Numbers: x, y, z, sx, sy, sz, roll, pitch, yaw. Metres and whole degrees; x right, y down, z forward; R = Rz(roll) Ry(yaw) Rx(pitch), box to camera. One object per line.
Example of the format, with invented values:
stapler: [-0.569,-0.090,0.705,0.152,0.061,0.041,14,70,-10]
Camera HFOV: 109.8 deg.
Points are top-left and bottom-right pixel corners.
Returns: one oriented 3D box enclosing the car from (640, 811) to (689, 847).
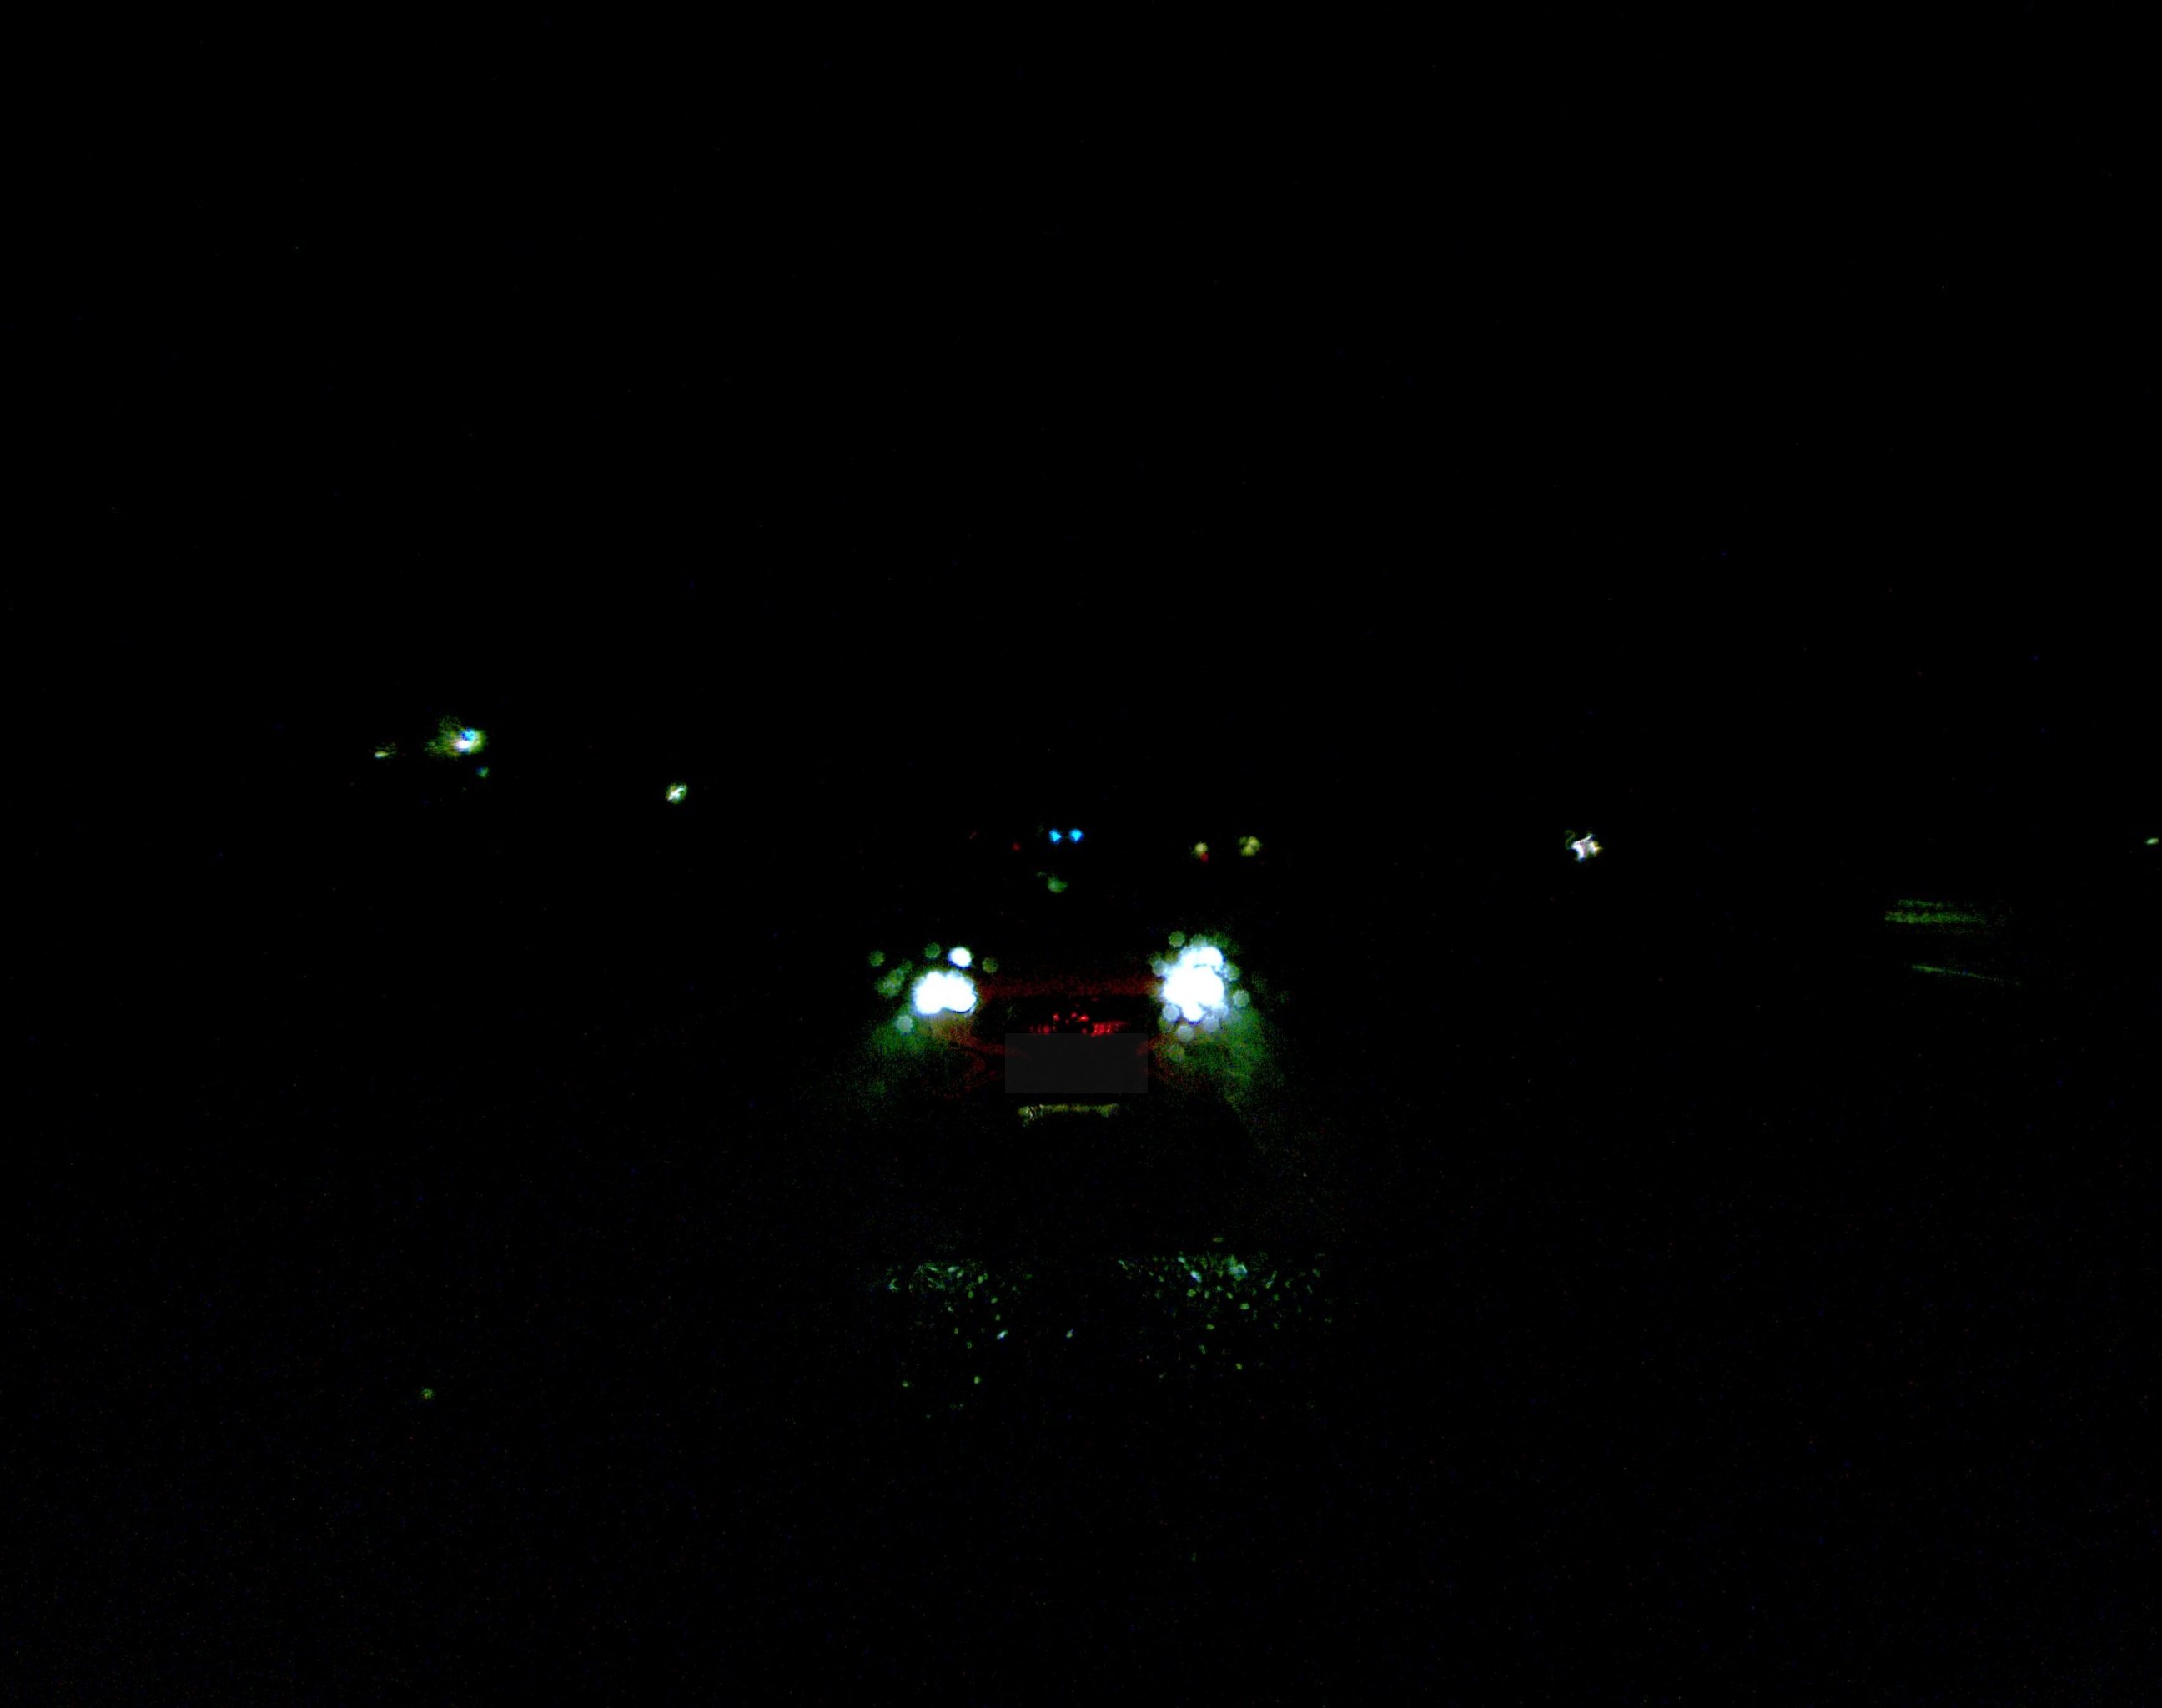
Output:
car: [-25.061,-1.489,45.851,1.735,2.002,3.696,-3,1,-16]

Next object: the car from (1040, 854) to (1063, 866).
car: [-5.068,1.035,129.273,2.003,2.002,3.990,-3,1,-32]

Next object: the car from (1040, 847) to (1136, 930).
car: [0.026,0.725,18.960,1.840,1.725,4.938,-2,1,-5]

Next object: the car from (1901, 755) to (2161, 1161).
car: [6.345,0.502,2.577,2.090,2.002,4.713,-1,1,1]

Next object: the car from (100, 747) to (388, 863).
car: [-16.405,-0.881,15.275,2.001,2.002,3.994,-3,1,-16]

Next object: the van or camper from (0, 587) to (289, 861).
van or camper: [-12.749,-1.342,8.808,2.417,2.777,5.763,-3,1,-18]

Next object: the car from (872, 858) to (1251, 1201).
car: [-0.066,0.888,5.952,1.826,1.573,4.354,-2,1,1]

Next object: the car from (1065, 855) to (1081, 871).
car: [-1.015,1.138,100.037,1.998,2.002,4.000,-2,1,1]

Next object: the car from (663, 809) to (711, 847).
car: [-26.366,-1.696,51.036,1.937,2.406,4.249,-3,1,-16]

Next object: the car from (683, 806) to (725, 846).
car: [-27.839,-2.027,56.240,1.937,2.759,4.249,-3,1,-16]

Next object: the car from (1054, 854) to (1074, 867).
car: [-2.793,1.028,121.510,2.001,2.002,3.993,-3,1,-19]
